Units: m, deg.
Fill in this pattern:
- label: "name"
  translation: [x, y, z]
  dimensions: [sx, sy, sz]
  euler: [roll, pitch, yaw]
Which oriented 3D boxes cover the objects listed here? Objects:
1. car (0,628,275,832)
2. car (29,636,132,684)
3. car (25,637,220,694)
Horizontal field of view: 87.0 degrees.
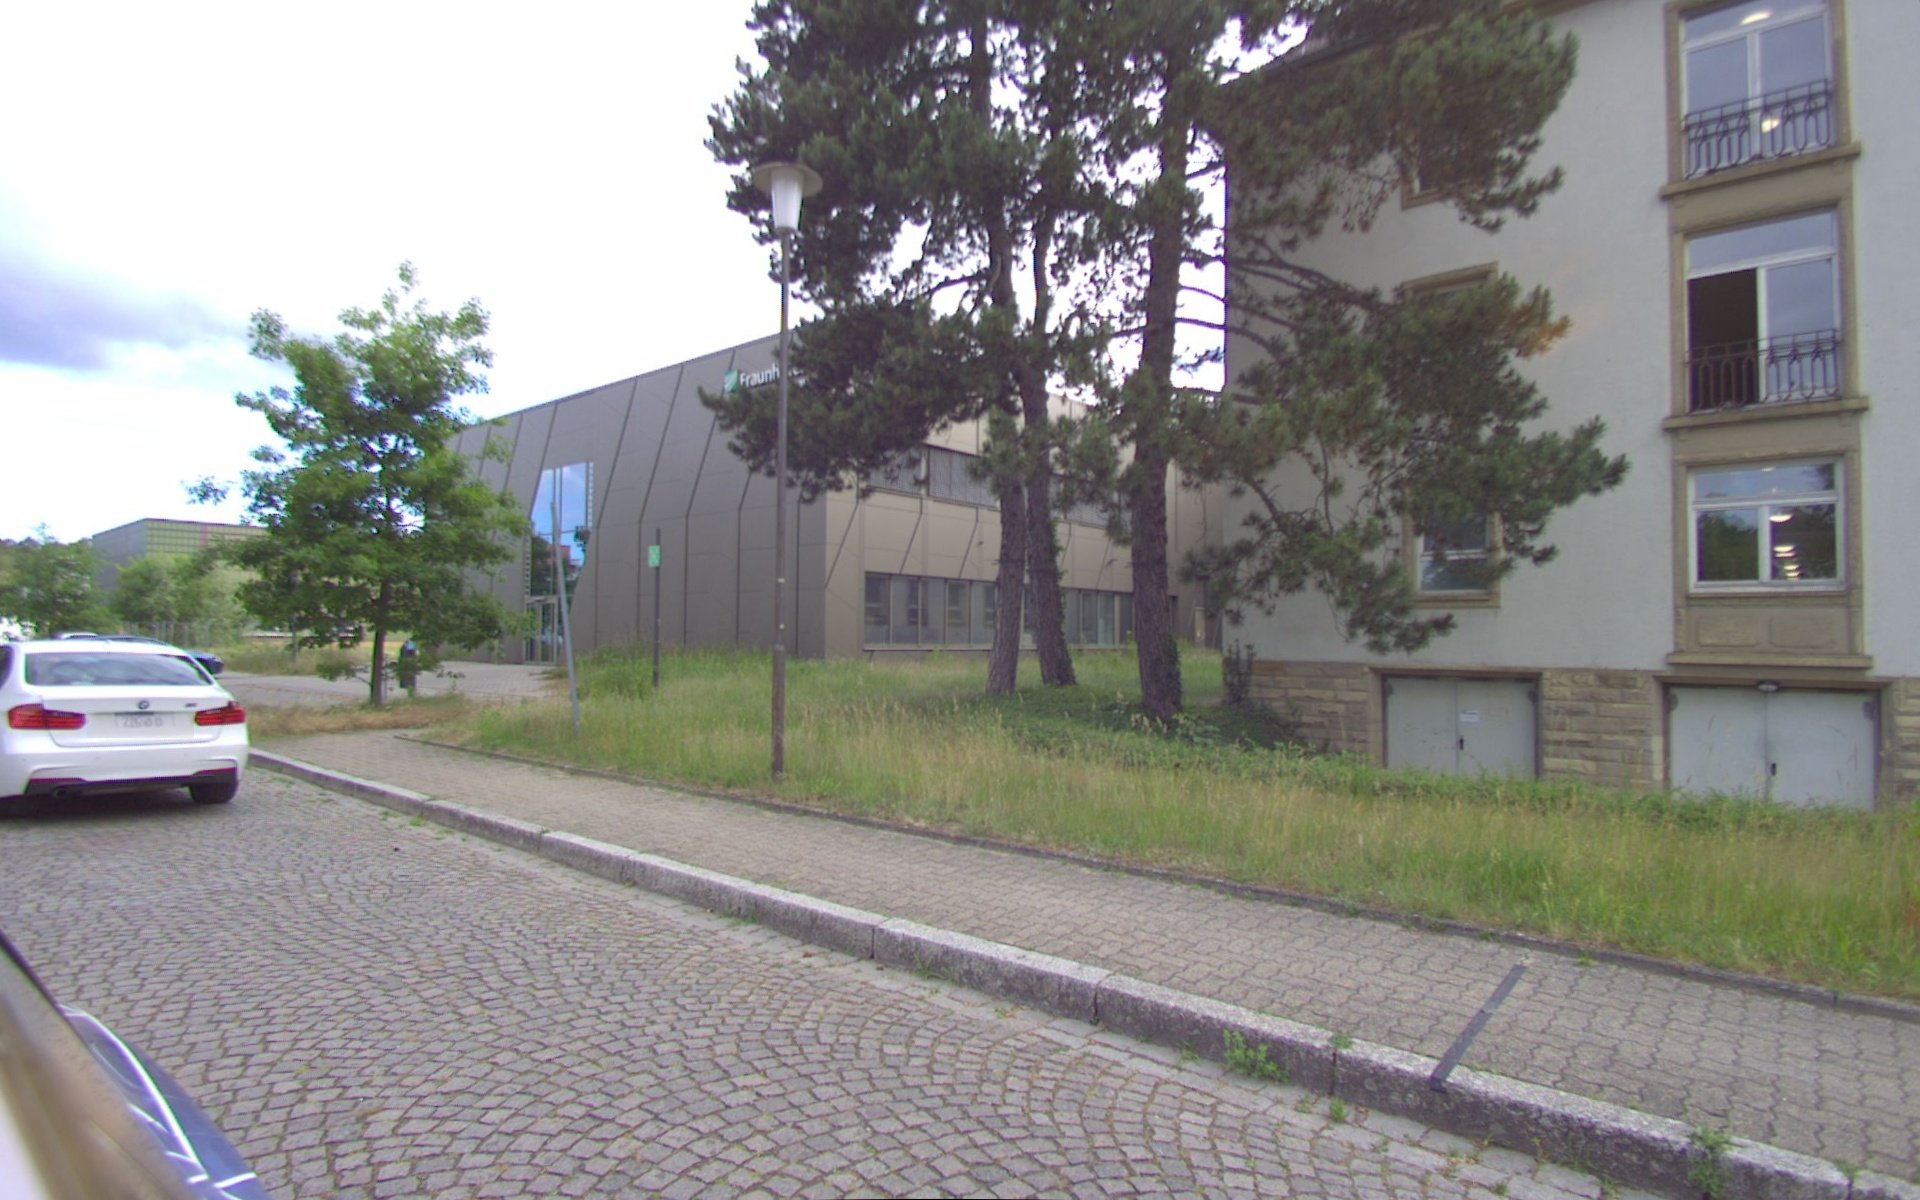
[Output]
- label: "car"
  translation: [-8.038, 1.043, 9.153]
  dimensions: [4.212, 1.449, 1.756]
  euler: [-2, -6, 38]
- label: "car"
  translation: [-31.199, 2.089, 35.947]
  dimensions: [1.498, 1.541, 2.553]
  euler: [-1, -1, 38]
- label: "car"
  translation: [-25.637, 1.954, 31.119]
  dimensions: [1.631, 1.481, 4.372]
  euler: [-1, -1, 38]
